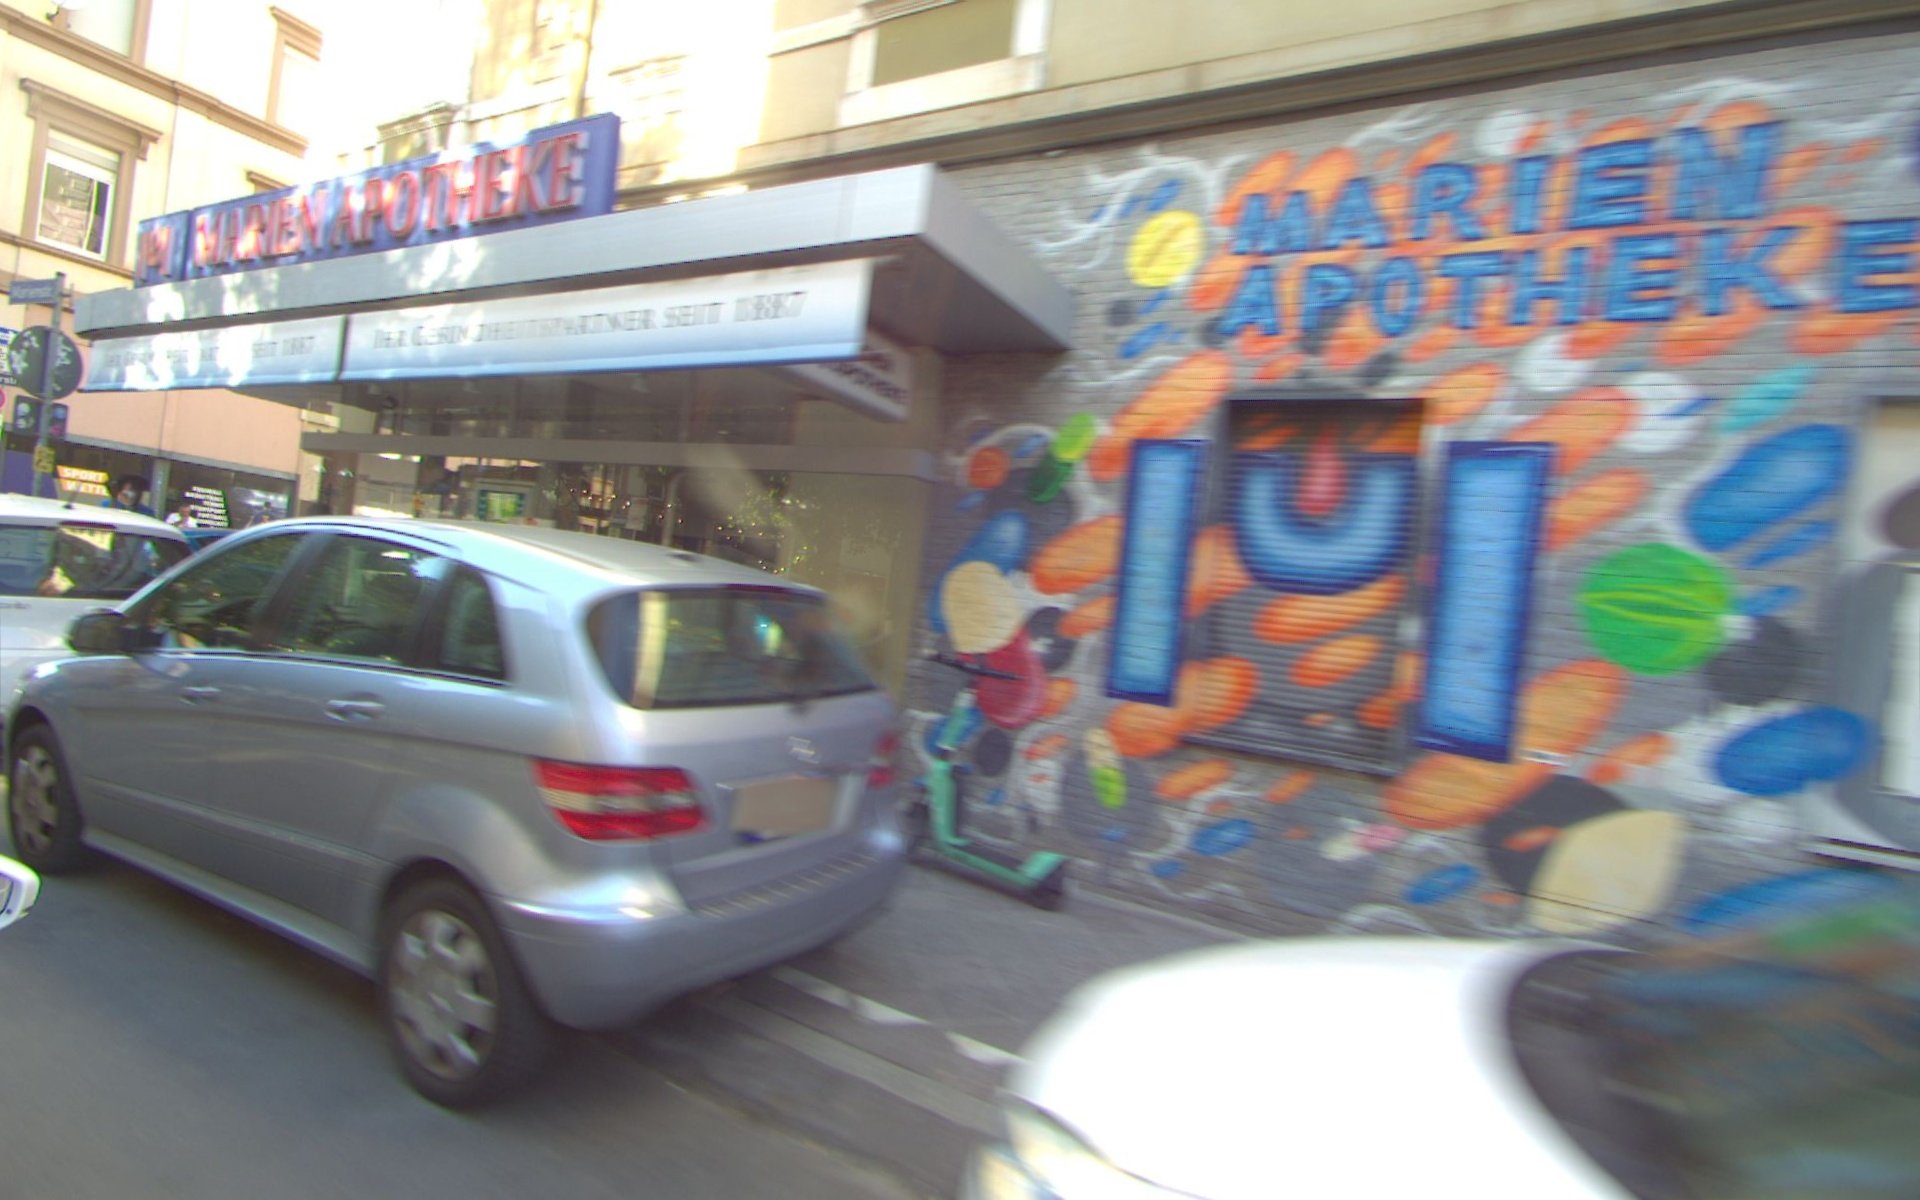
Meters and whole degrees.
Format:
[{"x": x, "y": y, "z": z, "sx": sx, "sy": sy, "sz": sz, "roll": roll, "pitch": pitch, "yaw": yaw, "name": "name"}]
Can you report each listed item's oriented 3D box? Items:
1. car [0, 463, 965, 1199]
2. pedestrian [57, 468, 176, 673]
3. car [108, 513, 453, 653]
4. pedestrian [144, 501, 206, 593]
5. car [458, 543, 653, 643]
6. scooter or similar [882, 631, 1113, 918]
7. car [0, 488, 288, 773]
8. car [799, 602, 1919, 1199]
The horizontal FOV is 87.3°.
[{"x": -2.208, "y": 0.494, "z": 4.095, "sx": 3.996, "sy": 1.669, "sz": 1.704, "roll": 6, "pitch": -2, "yaw": 31, "name": "car"}, {"x": -8.244, "y": -0.278, "z": 9.844, "sx": 0.521, "sy": 1.916, "sz": 0.563, "roll": 6, "pitch": -1, "yaw": 31, "name": "pedestrian"}, {"x": -9.509, "y": -0.163, "z": 14.356, "sx": 1.759, "sy": 1.503, "sz": 3.579, "roll": 6, "pitch": -1, "yaw": 31, "name": "car"}, {"x": -15.813, "y": -1.058, "z": 20.279, "sx": 0.467, "sy": 1.746, "sz": 0.692, "roll": 6, "pitch": -1, "yaw": 31, "name": "pedestrian"}, {"x": -9.820, "y": -0.108, "z": 24.701, "sx": 1.837, "sy": 1.863, "sz": 3.931, "roll": 10, "pitch": 0, "yaw": 31, "name": "car"}, {"x": 0.186, "y": 0.877, "z": 5.335, "sx": 1.020, "sy": 1.294, "sz": 0.395, "roll": 6, "pitch": -1, "yaw": 32, "name": "scooter or similar"}, {"x": -6.321, "y": 0.047, "z": 6.517, "sx": 3.578, "sy": 1.479, "sz": 1.694, "roll": 6, "pitch": -2, "yaw": 29, "name": "car"}, {"x": 1.918, "y": 1.030, "z": 0.996, "sx": 4.132, "sy": 1.544, "sz": 1.557, "roll": 6, "pitch": -2, "yaw": 32, "name": "car"}]
